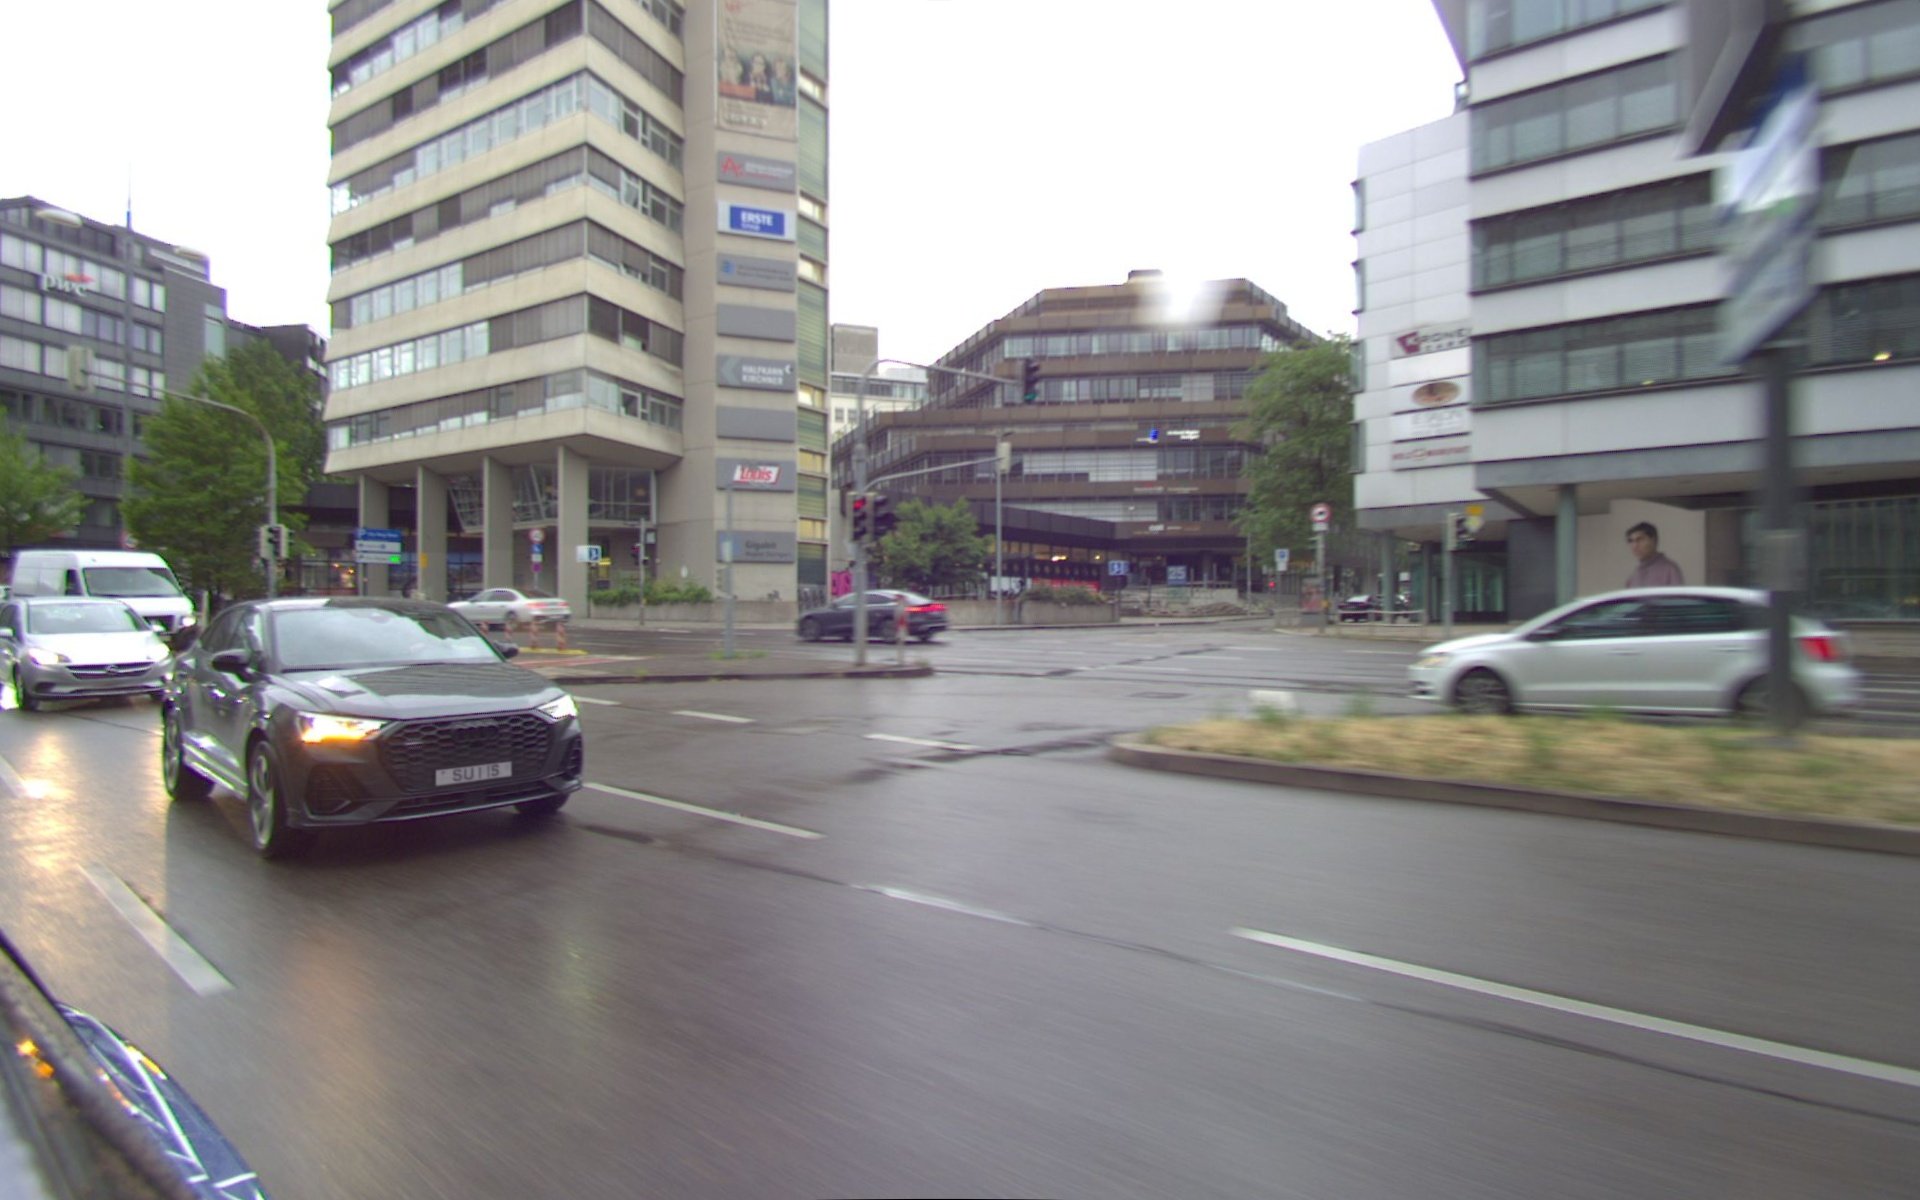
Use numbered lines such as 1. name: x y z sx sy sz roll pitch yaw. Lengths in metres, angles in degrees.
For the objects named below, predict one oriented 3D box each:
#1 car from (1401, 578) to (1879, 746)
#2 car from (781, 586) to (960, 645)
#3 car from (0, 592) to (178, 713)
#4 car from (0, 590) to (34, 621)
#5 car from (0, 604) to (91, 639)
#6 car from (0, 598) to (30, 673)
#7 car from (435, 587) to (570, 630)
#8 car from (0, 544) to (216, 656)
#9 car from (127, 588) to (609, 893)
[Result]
1. car: 7.014 0.514 10.778 3.967 1.475 1.734 1 1 39
2. car: -2.668 0.395 29.575 5.157 1.597 1.977 0 1 35
3. car: -13.034 0.644 14.746 4.124 1.490 1.752 1 1 40
4. car: -50.581 0.271 52.680 4.028 1.528 1.744 0 1 18
5. car: -41.443 0.956 45.722 3.975 1.475 1.730 0 1 24
6. car: -20.306 0.676 19.871 4.225 1.412 1.886 0 1 31
7. car: -17.061 0.277 37.688 5.228 1.529 1.772 0 1 28
8. car: -20.358 -0.029 23.973 5.694 2.403 2.239 0 1 29
9. car: -4.495 0.703 7.366 4.387 1.563 1.778 1 1 42
